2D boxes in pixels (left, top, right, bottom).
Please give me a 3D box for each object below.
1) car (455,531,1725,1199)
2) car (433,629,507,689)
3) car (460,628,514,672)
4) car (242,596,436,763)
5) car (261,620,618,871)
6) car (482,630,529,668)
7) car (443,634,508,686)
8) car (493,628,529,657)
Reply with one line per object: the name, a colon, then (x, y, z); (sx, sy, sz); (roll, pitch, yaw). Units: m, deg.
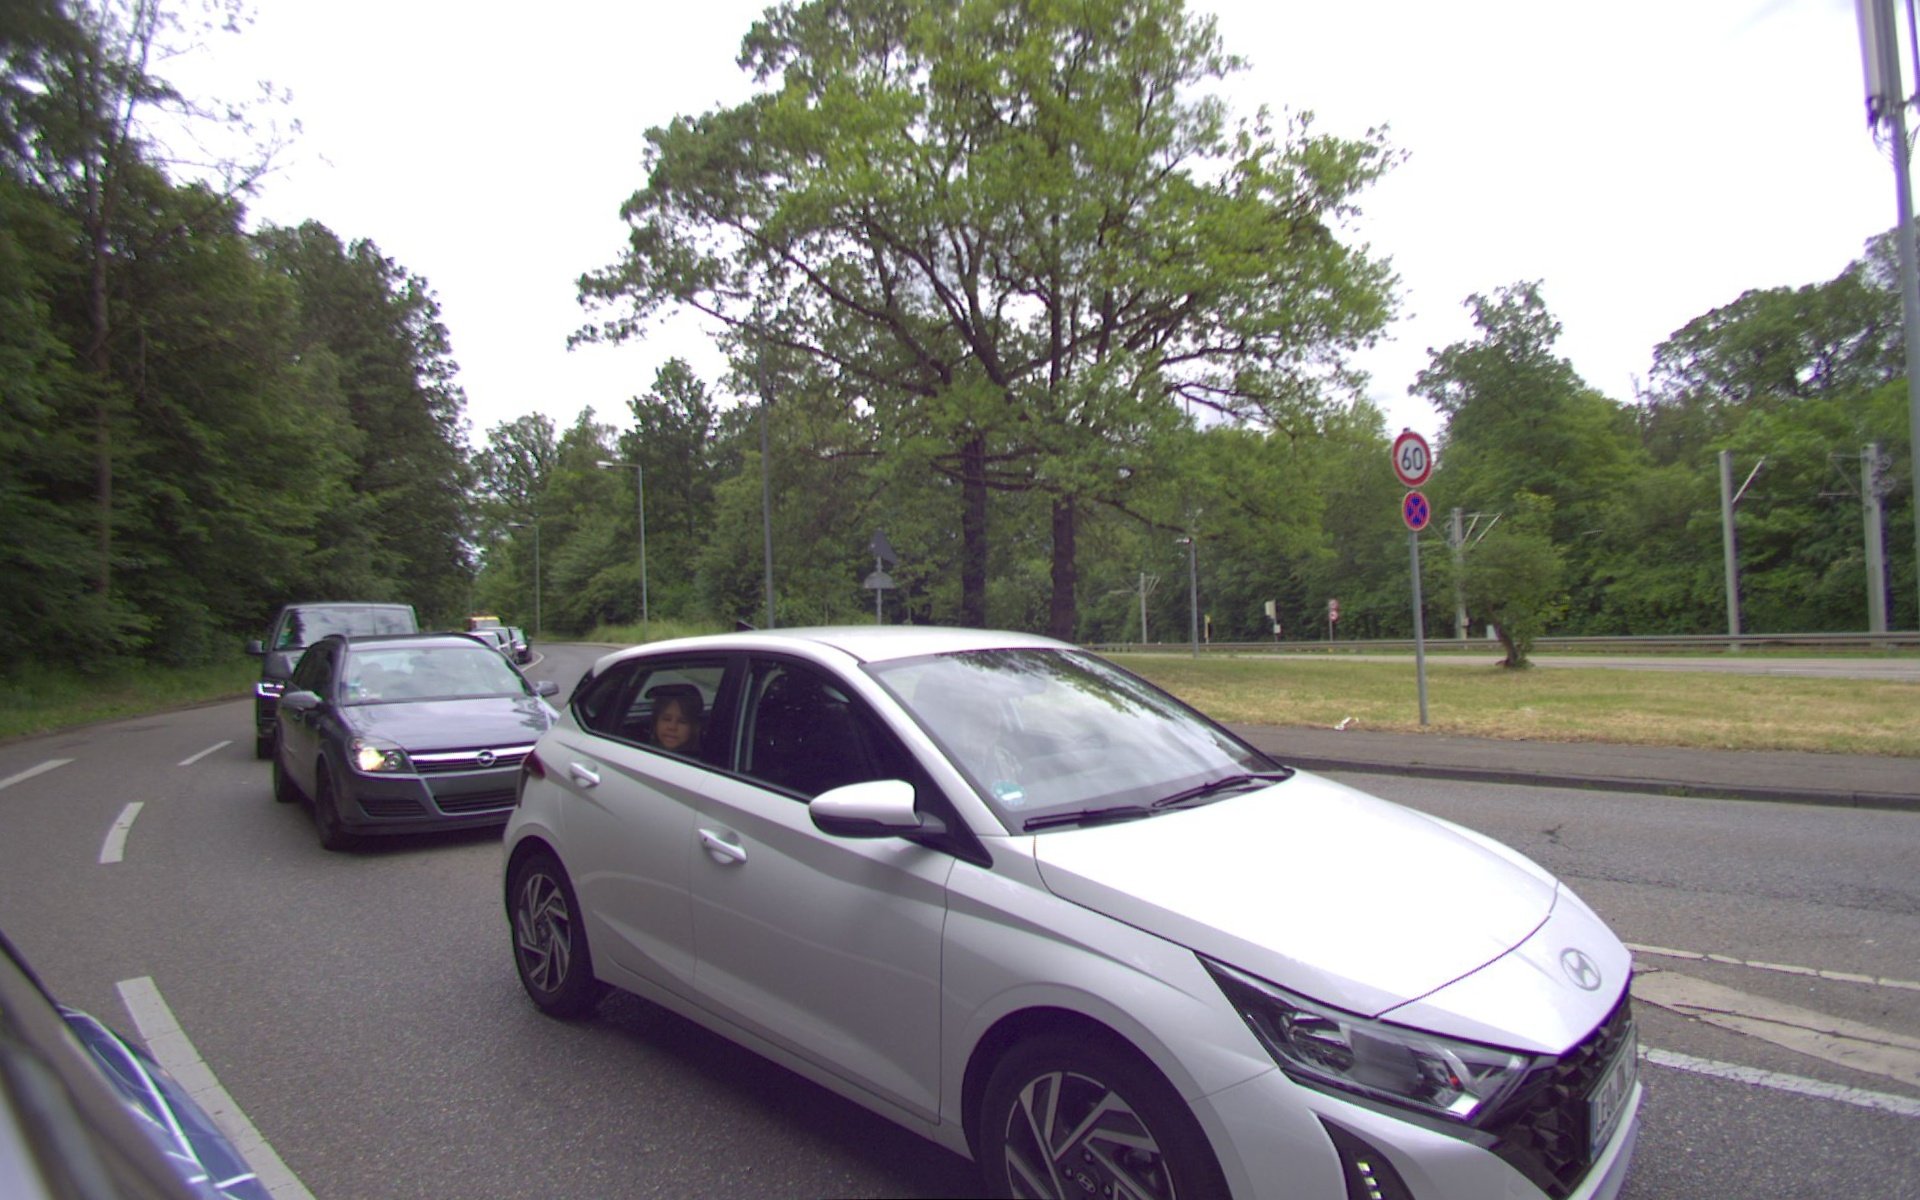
car: (-0.074, 0.723, 3.430); (4.073, 1.490, 1.631); (-3, -2, 43)
car: (-13.699, 1.605, 28.389); (1.748, 1.511, 3.885); (0, -2, -25)
car: (-17.731, 1.844, 37.949); (1.748, 1.511, 3.885); (0, -2, -25)
car: (-8.403, 0.980, 13.967); (1.957, 1.887, 4.545); (0, -2, -29)
car: (-4.540, 0.968, 8.415); (1.775, 1.490, 4.478); (0, -2, -39)
car: (-19.386, 2.062, 43.143); (1.748, 1.511, 3.885); (0, -2, -25)
car: (-15.393, 1.853, 32.237); (1.748, 1.511, 3.885); (0, -2, -25)
car: (-25.309, 2.385, 57.118); (1.749, 1.511, 3.885); (-1, -2, -22)
